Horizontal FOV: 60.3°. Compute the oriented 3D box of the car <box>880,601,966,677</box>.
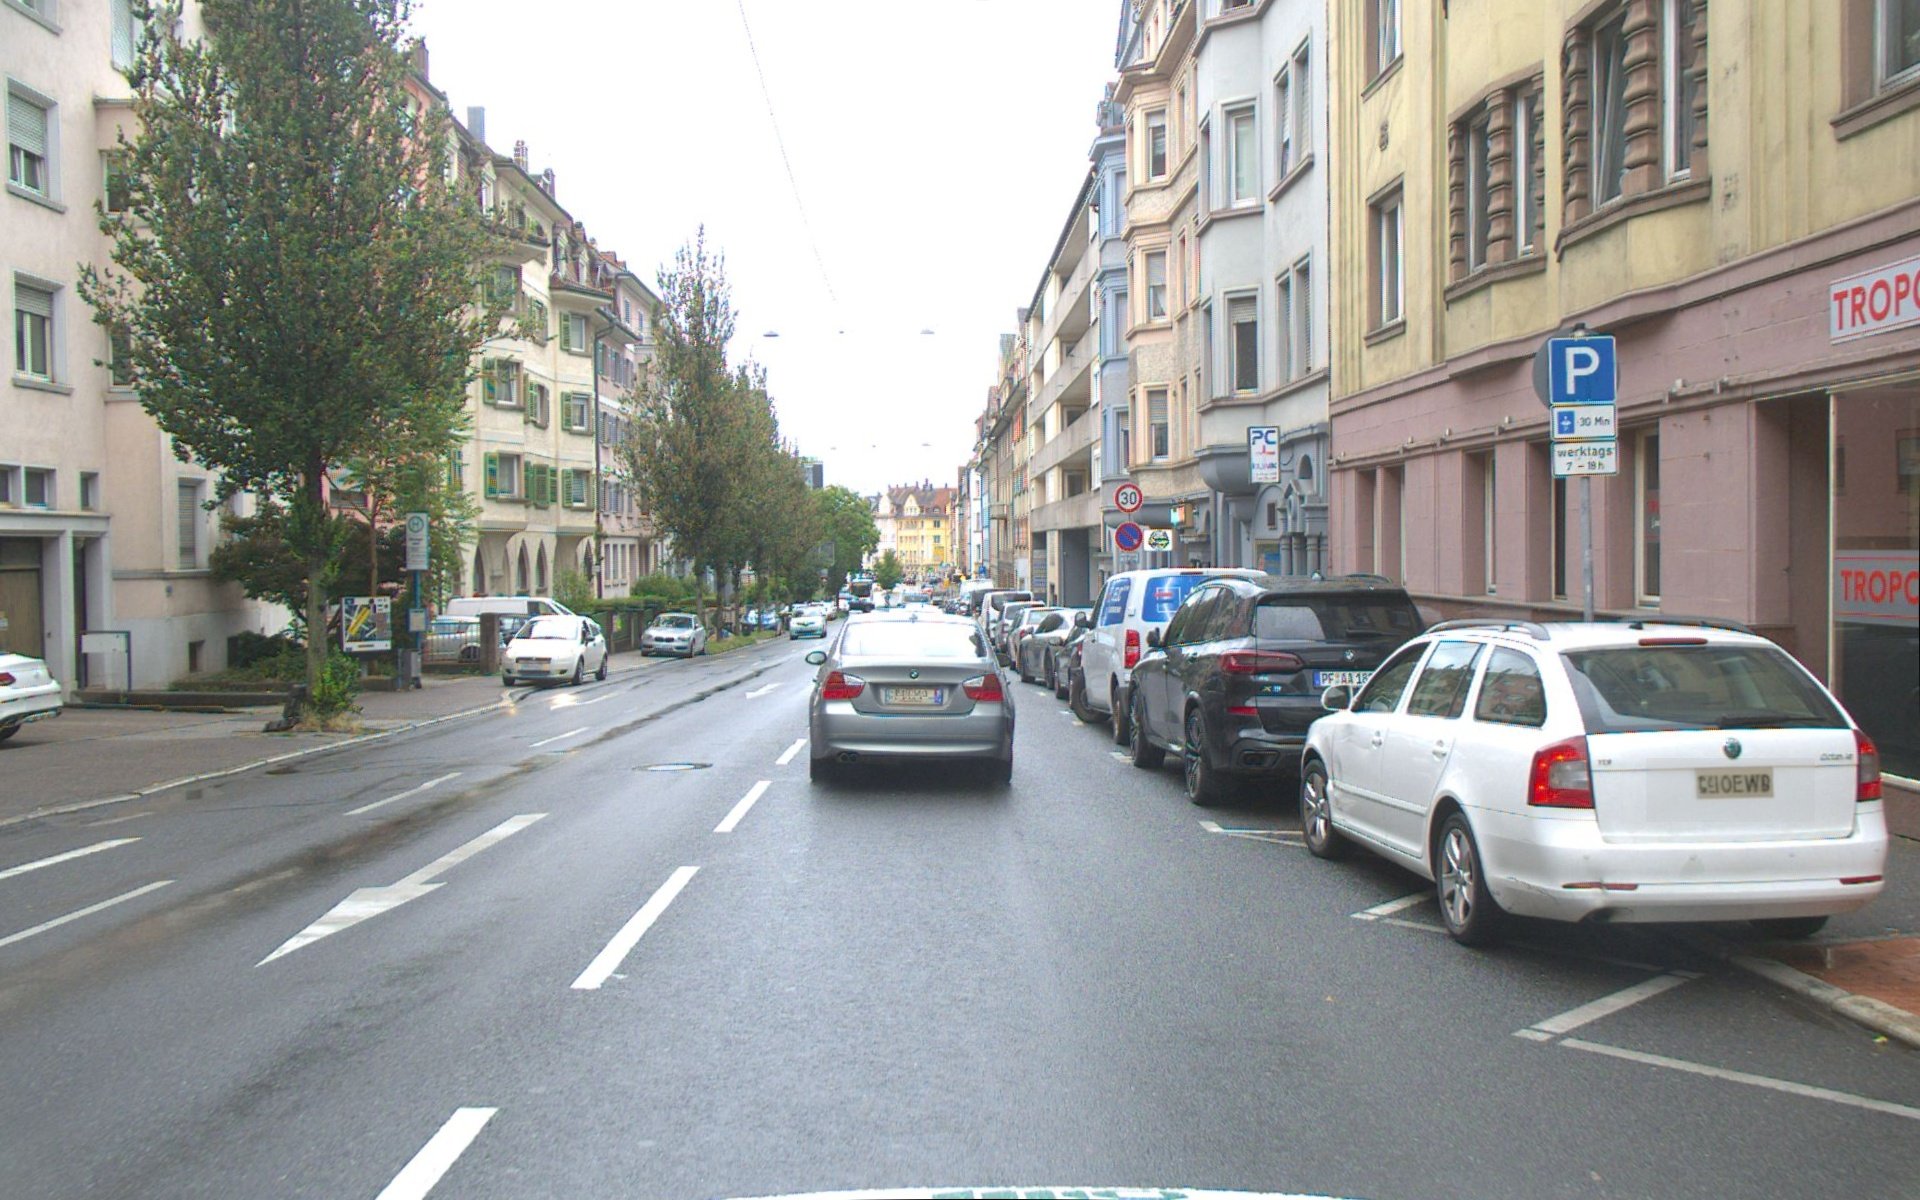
[{"bbox_3d":[-0.713,0.764,33.789,1.647,1.453,3.740,0,0,0],"label":"car"}]

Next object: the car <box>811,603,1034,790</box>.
[{"bbox_3d":[-0.361,0.768,14.818,1.734,1.453,3.739,0,0,-2],"label":"car"}]

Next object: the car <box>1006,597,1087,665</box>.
[{"bbox_3d":[1.965,0.676,38.517,1.579,1.500,4.014,0,0,-1],"label":"car"}]

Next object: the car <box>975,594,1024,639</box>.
[{"bbox_3d":[1.545,0.640,66.251,1.691,1.699,4.287,-2,0,-1],"label":"car"}]

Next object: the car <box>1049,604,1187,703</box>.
[{"bbox_3d":[2.373,0.775,25.803,1.643,1.399,4.275,0,0,-1],"label":"car"}]

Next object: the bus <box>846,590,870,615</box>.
[{"bbox_3d":[-13.176,0.356,214.133,2.614,3.077,7.668,-2,0,-1],"label":"bus"}]

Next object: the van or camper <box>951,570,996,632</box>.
[{"bbox_3d":[0.738,0.045,83.686,1.991,2.919,6.887,2,0,2],"label":"van or camper"}]

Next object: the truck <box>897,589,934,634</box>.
[{"bbox_3d":[-2.501,0.639,92.590,1.991,2.455,4.824,0,-1,-2],"label":"truck"}]

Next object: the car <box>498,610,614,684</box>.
[{"bbox_3d":[-8.869,0.992,36.597,1.588,1.471,4.004,-1,0,-1],"label":"car"}]

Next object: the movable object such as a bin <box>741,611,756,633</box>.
[{"bbox_3d":[-9.305,0.955,72.678,0.565,0.928,0.637,-2,0,-16],"label":"movable object such as a bin"}]

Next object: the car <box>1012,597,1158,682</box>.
[{"bbox_3d":[2.284,0.710,31.466,1.840,1.493,4.766,0,0,-8],"label":"car"}]

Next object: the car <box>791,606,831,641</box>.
[{"bbox_3d":[-7.180,1.136,80.080,1.603,1.534,3.753,-4,0,-1],"label":"car"}]

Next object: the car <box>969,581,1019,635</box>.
[{"bbox_3d":[1.483,0.340,73.226,1.942,2.203,4.748,-2,0,-1],"label":"car"}]

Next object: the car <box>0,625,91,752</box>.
[{"bbox_3d":[-13.175,1.109,19.871,4.456,1.425,1.767,-2,0,-2],"label":"car"}]

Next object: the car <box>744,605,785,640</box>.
[{"bbox_3d":[-10.000,1.143,84.805,1.731,1.621,3.998,-3,0,-3],"label":"car"}]

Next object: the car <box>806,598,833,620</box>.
[{"bbox_3d":[-10.803,0.666,127.303,1.656,1.550,3.736,-3,0,0],"label":"car"}]

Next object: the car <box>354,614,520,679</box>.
[{"bbox_3d":[-13.461,1.182,42.756,3.810,1.483,1.788,-2,0,-9],"label":"car"}]

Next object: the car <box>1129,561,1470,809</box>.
[{"bbox_3d":[2.670,0.609,14.157,1.841,1.762,4.675,1,0,-1],"label":"car"}]

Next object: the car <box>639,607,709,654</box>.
[{"bbox_3d":[-9.675,1.014,56.219,1.691,1.510,3.988,1,-1,-1],"label":"car"}]

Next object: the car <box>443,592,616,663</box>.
[{"bbox_3d":[-13.221,0.835,50.998,4.731,2.008,2.047,-2,0,-2],"label":"car"}]

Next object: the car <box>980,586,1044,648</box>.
[{"bbox_3d":[1.805,0.579,58.564,1.942,2.042,4.623,-2,0,-1],"label":"car"}]

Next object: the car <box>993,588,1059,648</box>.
[{"bbox_3d":[2.031,0.547,51.866,1.691,1.699,4.287,-3,0,-1],"label":"car"}]

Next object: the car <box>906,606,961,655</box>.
[{"bbox_3d":[-0.869,0.951,52.695,1.663,1.509,3.792,0,0,-2],"label":"car"}]

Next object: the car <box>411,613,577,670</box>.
[{"bbox_3d":[-13.650,1.195,48.630,4.344,1.477,1.791,-2,0,-4],"label":"car"}]

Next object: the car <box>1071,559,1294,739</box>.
[{"bbox_3d":[2.559,0.519,20.228,1.881,1.859,5.007,-2,0,-1],"label":"car"}]

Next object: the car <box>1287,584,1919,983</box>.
[{"bbox_3d":[3.172,0.741,8.888,1.763,1.592,4.490,1,0,-2],"label":"car"}]

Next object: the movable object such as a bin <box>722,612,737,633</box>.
[{"bbox_3d":[-10.091,0.988,72.490,0.565,0.928,0.637,-2,0,-16],"label":"movable object such as a bin"}]
